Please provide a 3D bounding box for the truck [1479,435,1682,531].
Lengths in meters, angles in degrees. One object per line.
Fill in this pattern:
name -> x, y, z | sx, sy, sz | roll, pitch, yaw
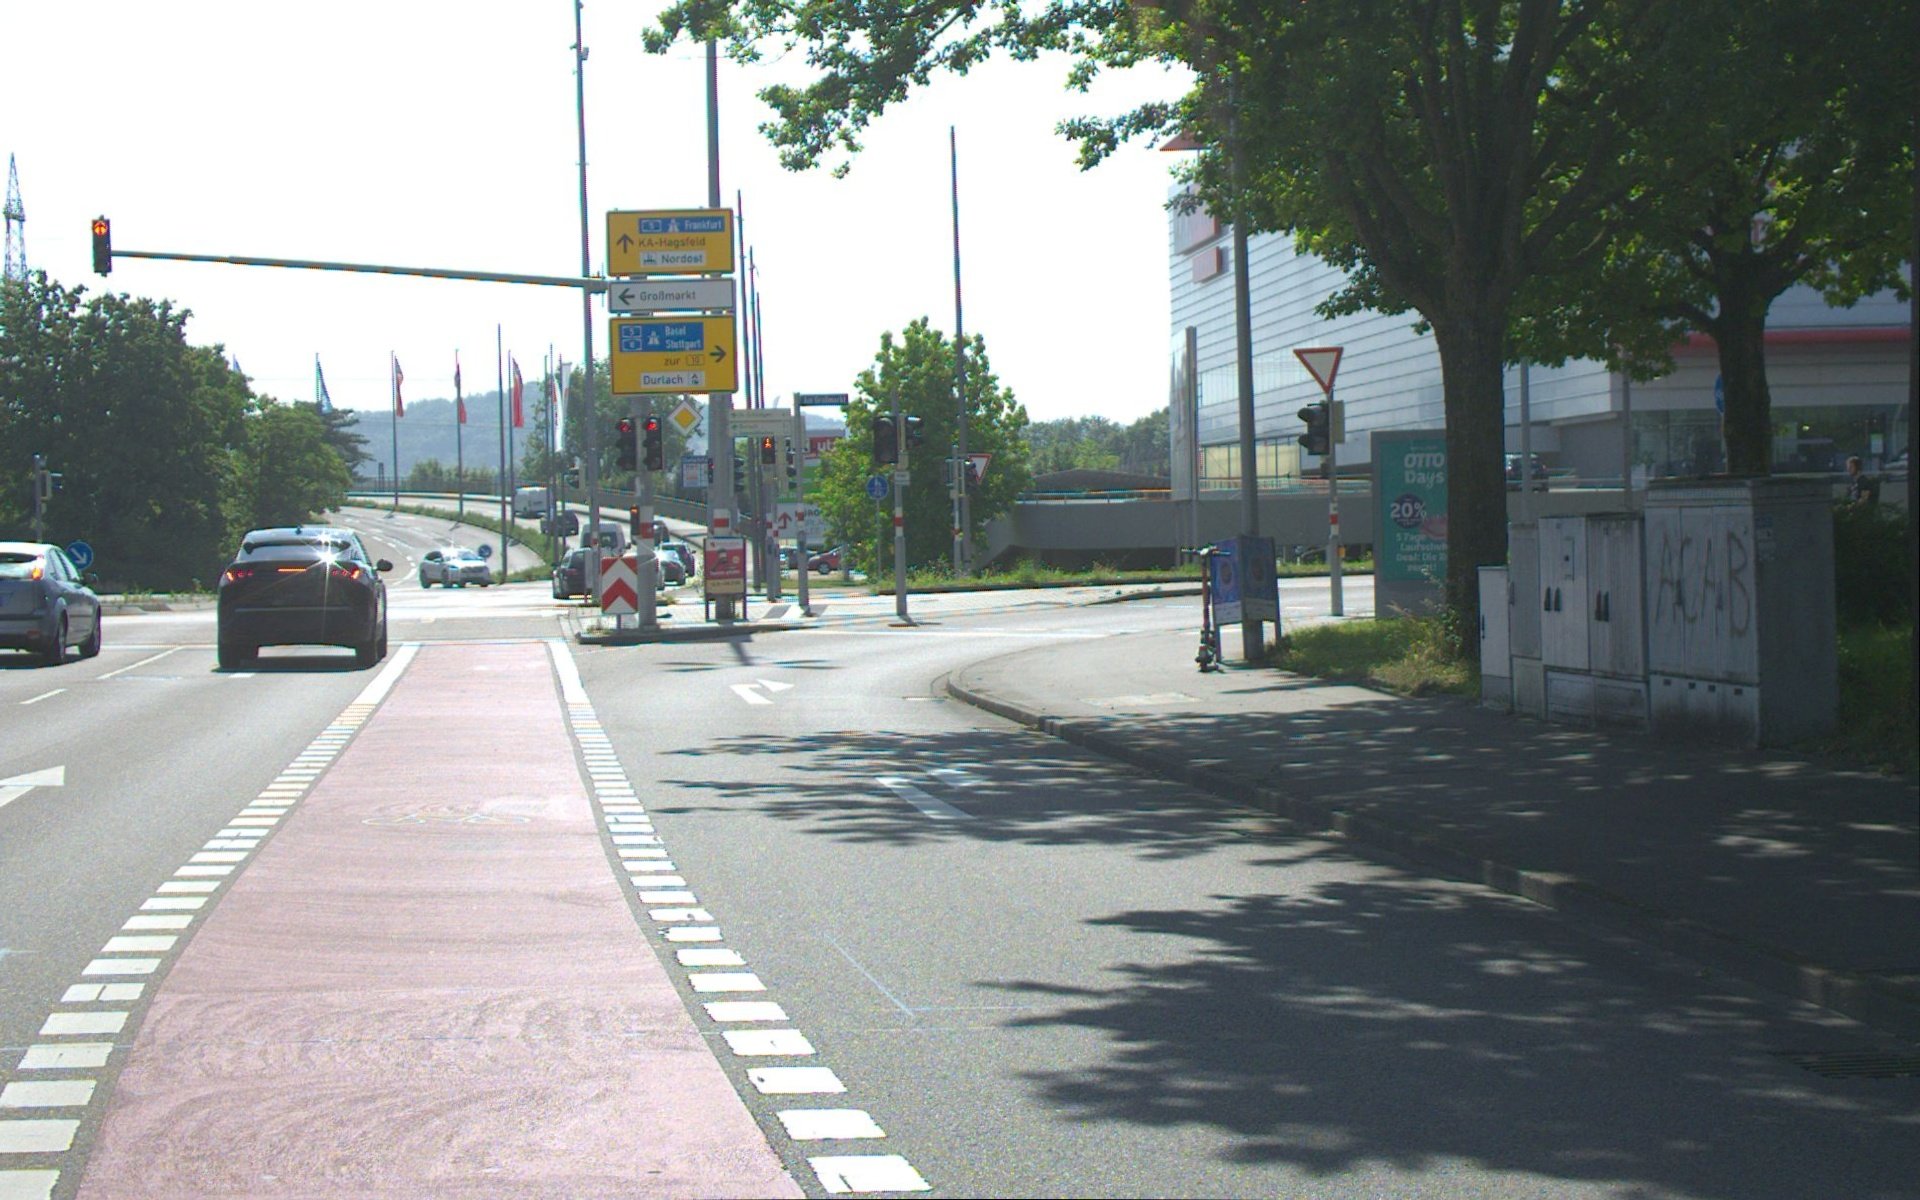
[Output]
truck -> 16.304, -3.086, 90.436 | 4.880, 2.415, 2.000 | 1, 2, -3

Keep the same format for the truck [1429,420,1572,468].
truck -> 24.053, -6.928, 153.087 | 5.908, 2.006, 2.001 | 1, 2, -4

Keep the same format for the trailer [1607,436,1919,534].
trailer -> 23.223, -3.013, 90.899 | 11.869, 2.460, 2.001 | 1, 2, -4

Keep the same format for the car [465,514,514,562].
car -> -20.809, -2.756, 152.134 | 1.993, 2.006, 3.982 | 1, 2, -6

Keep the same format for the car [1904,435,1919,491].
car -> 36.374, -4.896, 124.021 | 3.986, 2.006, 2.001 | 1, 2, -8

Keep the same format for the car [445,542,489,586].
car -> -20.690, -1.513, 144.152 | 1.759, 1.787, 3.348 | -2, 1, -8

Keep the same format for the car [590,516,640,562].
car -> -16.009, -2.859, 159.692 | 1.993, 2.006, 4.001 | 1, 2, -2

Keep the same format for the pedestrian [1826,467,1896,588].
pedestrian -> 13.424, -1.077, 51.212 | 0.627, 1.764, 0.805 | -2, 1, -17

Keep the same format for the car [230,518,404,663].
car -> -7.838, -0.155, 42.207 | 1.807, 1.634, 4.460 | -2, 1, -7

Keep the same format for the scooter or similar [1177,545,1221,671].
scooter or similar -> 2.411, 0.066, 34.612 | 0.351, 1.229, 1.311 | -2, 1, 7

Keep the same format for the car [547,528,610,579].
car -> -10.967, -1.360, 98.970 | 1.688, 1.354, 4.001 | 1, 2, -5

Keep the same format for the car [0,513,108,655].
car -> -11.995, -0.205, 43.041 | 1.993, 1.678, 4.001 | -2, 1, -6
